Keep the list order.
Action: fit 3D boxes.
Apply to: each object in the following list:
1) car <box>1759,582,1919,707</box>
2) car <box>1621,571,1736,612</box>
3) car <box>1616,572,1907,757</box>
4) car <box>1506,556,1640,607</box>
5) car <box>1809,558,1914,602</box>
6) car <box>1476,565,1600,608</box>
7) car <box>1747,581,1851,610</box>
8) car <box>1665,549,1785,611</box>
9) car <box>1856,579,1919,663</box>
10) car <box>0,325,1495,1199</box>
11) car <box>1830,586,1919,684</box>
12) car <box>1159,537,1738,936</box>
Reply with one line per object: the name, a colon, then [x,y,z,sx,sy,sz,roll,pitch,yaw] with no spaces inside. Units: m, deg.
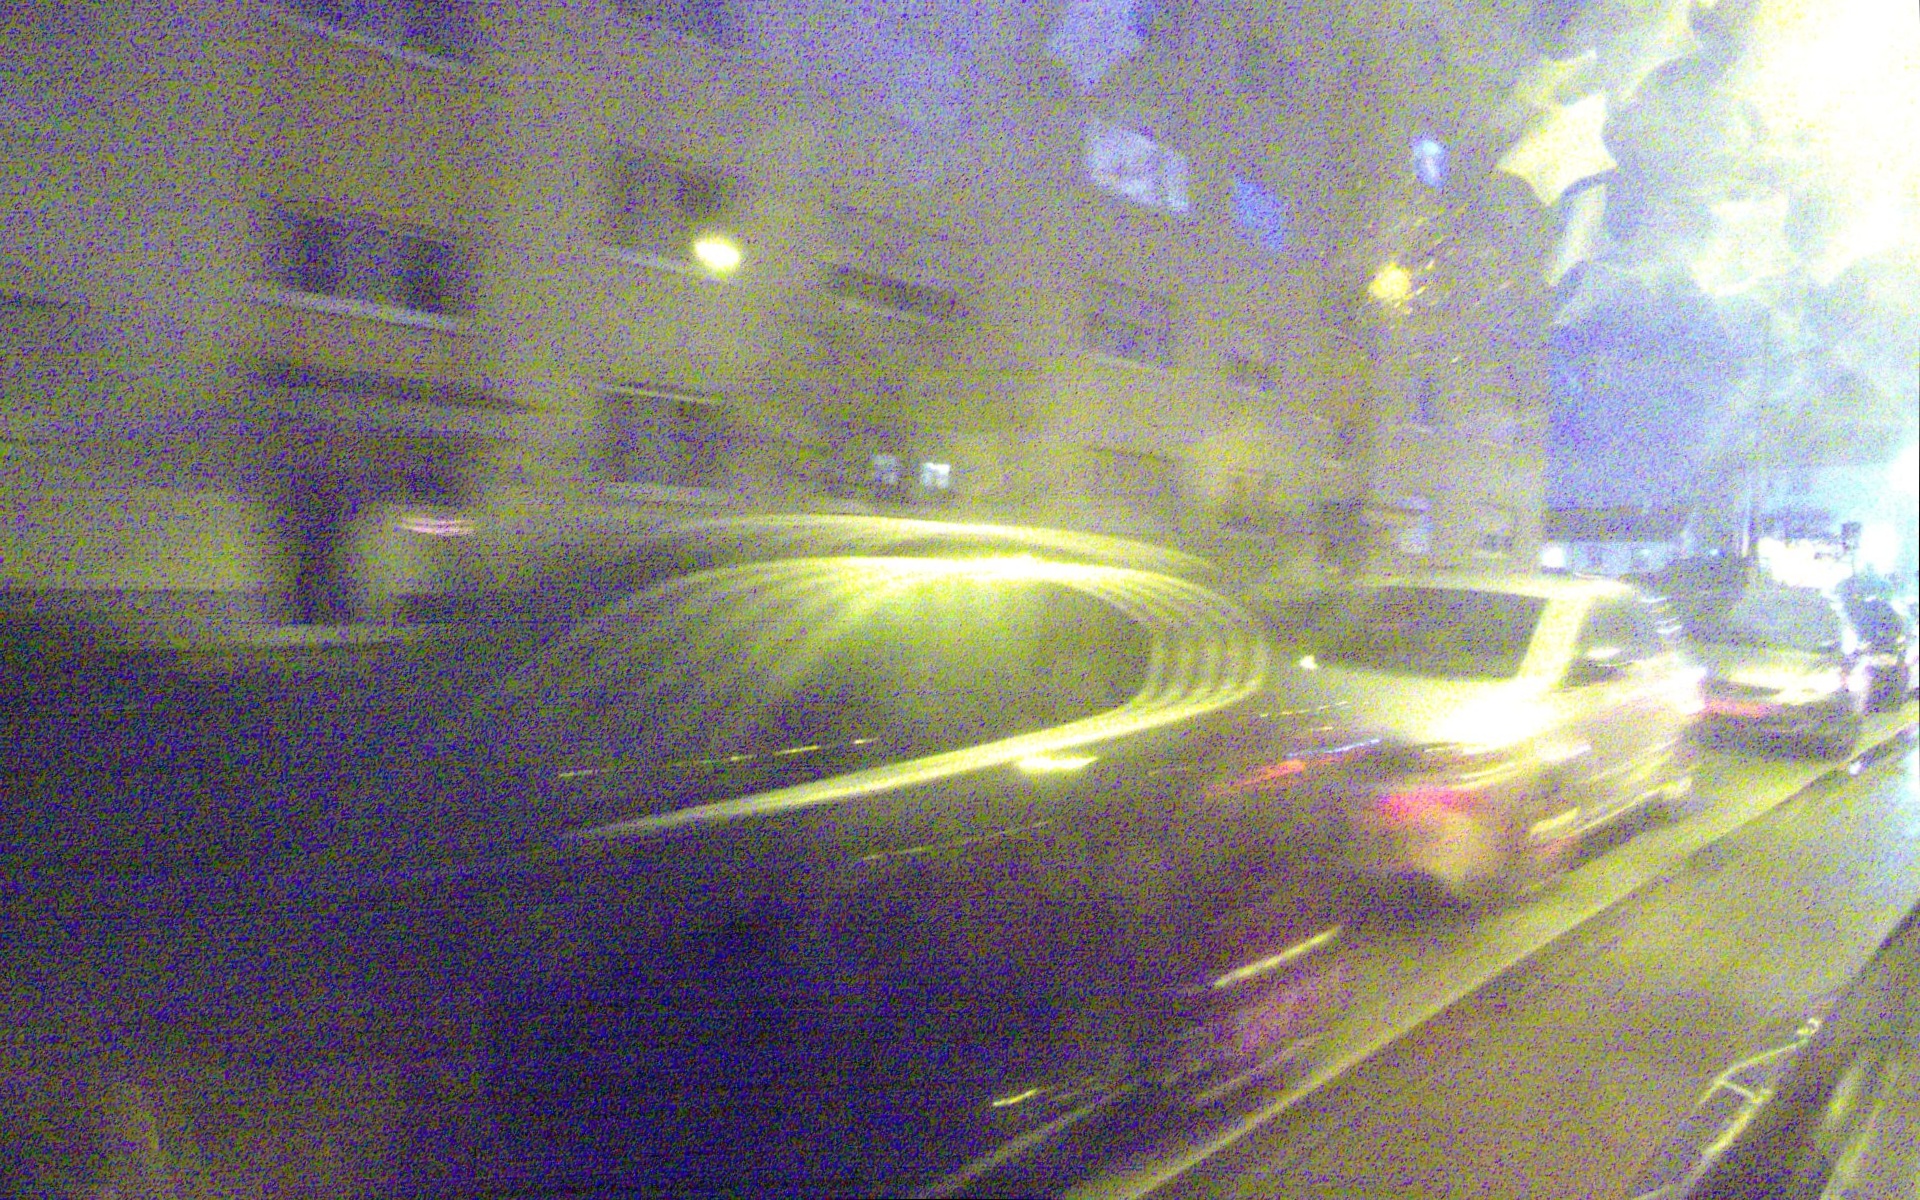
car: [13.090,0.576,14.691,3.883,1.491,1.607,1,3,-42]
car: [30.560,-0.389,43.115,1.636,1.474,3.664,1,3,-40]
car: [8.503,0.548,10.619,3.885,1.491,1.798,1,3,-44]
car: [23.895,-0.761,39.592,1.635,1.727,4.095,1,3,-36]
car: [50.952,-1.153,57.288,1.766,2.195,4.031,2,3,-34]
car: [21.746,-0.519,38.155,1.636,1.357,3.664,1,3,-40]
car: [46.078,-0.277,55.648,1.766,1.283,4.031,1,3,-34]
car: [36.157,-0.982,47.908,1.766,2.650,4.031,2,3,-34]
car: [20.340,0.452,21.027,4.699,1.566,1.800,1,3,-40]
car: [-0.465,0.488,2.682,4.668,1.598,1.870,1,3,-44]
car: [16.364,0.576,17.460,3.885,1.491,1.606,1,3,-44]
car: [3.117,0.526,6.069,3.885,1.566,1.798,1,3,-44]
